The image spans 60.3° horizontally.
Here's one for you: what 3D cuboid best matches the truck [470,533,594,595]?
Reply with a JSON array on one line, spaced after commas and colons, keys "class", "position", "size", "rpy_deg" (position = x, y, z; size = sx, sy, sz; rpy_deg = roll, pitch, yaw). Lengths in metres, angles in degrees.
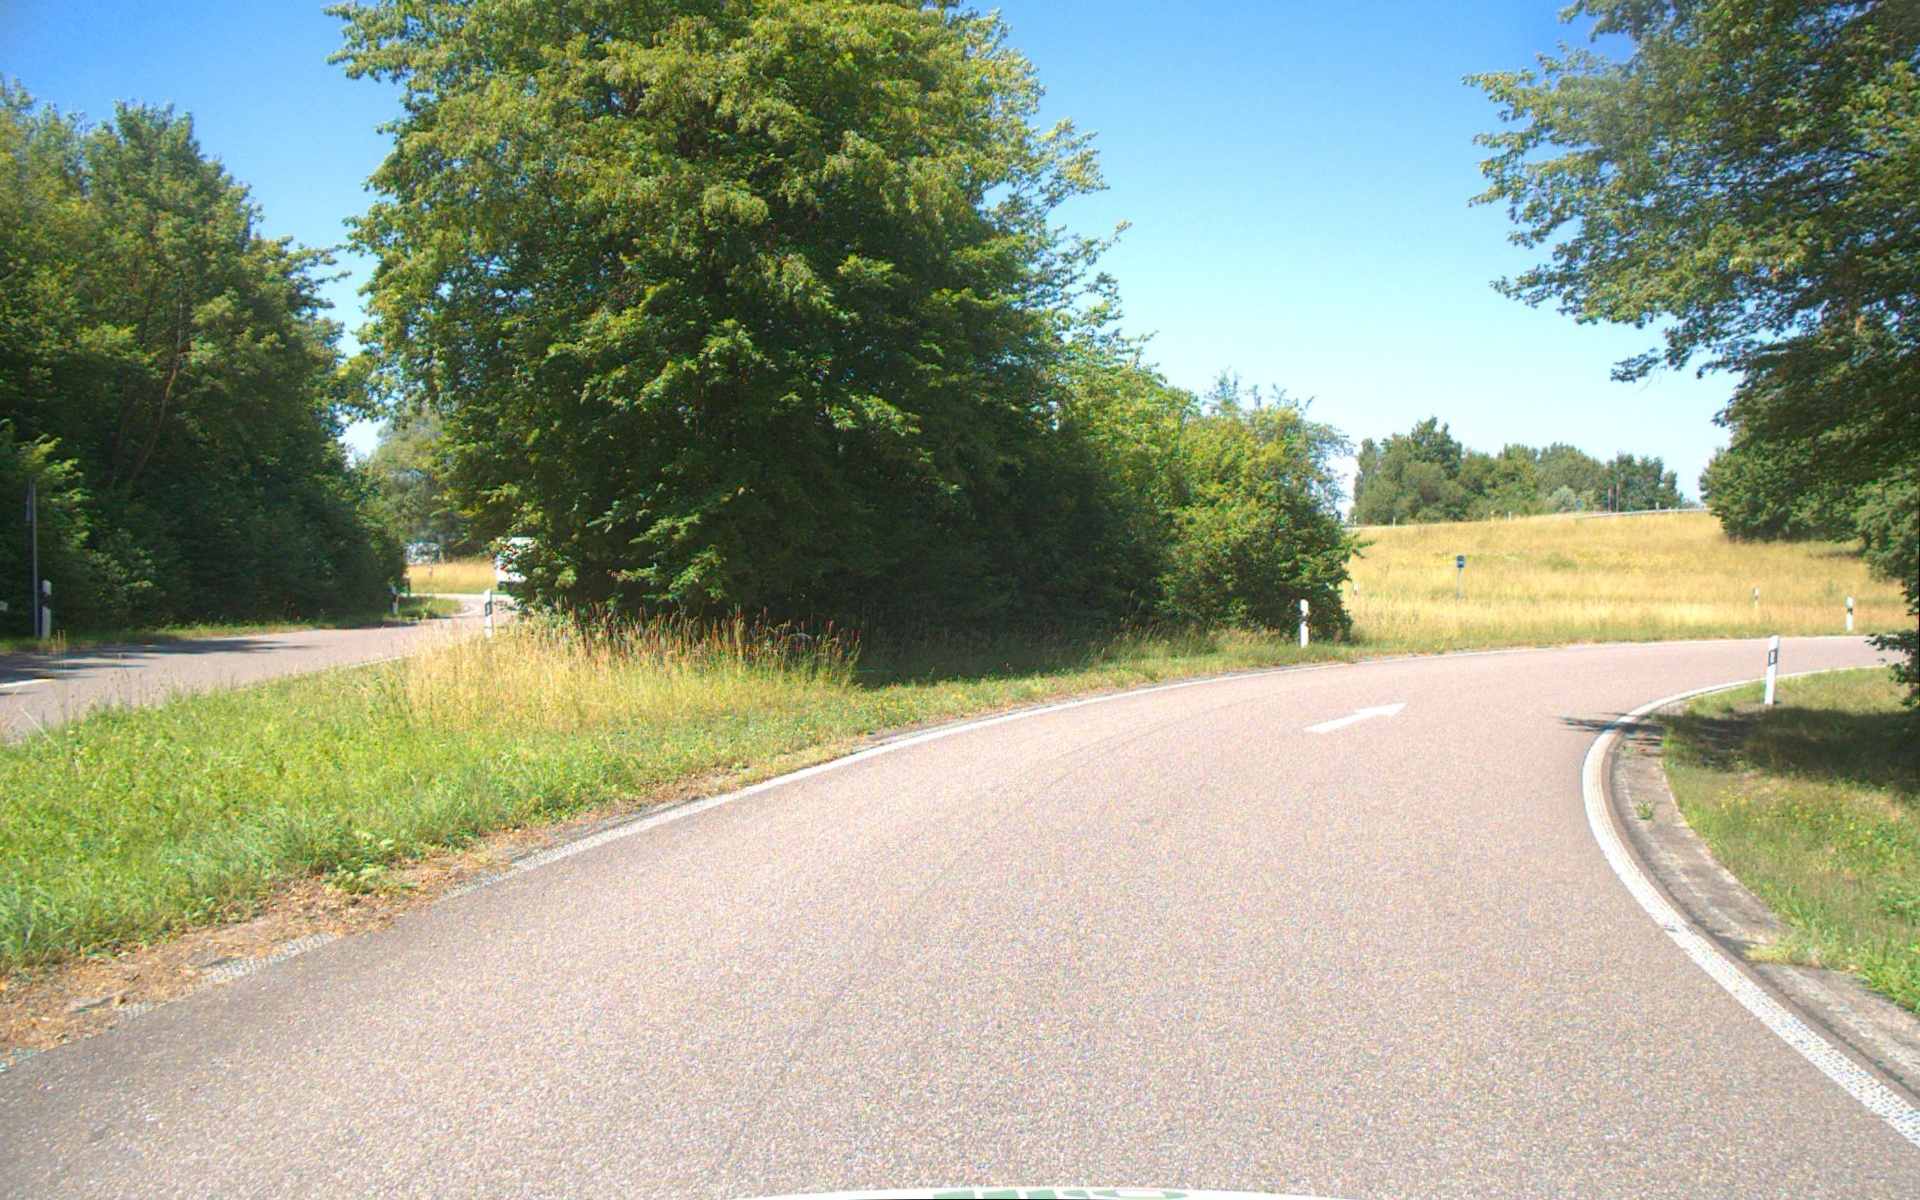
[{"class": "truck", "position": [-21.732, -1.828, 84.014], "size": [5.751, 3.036, 2.250], "rpy_deg": [1, 1, 16]}]
